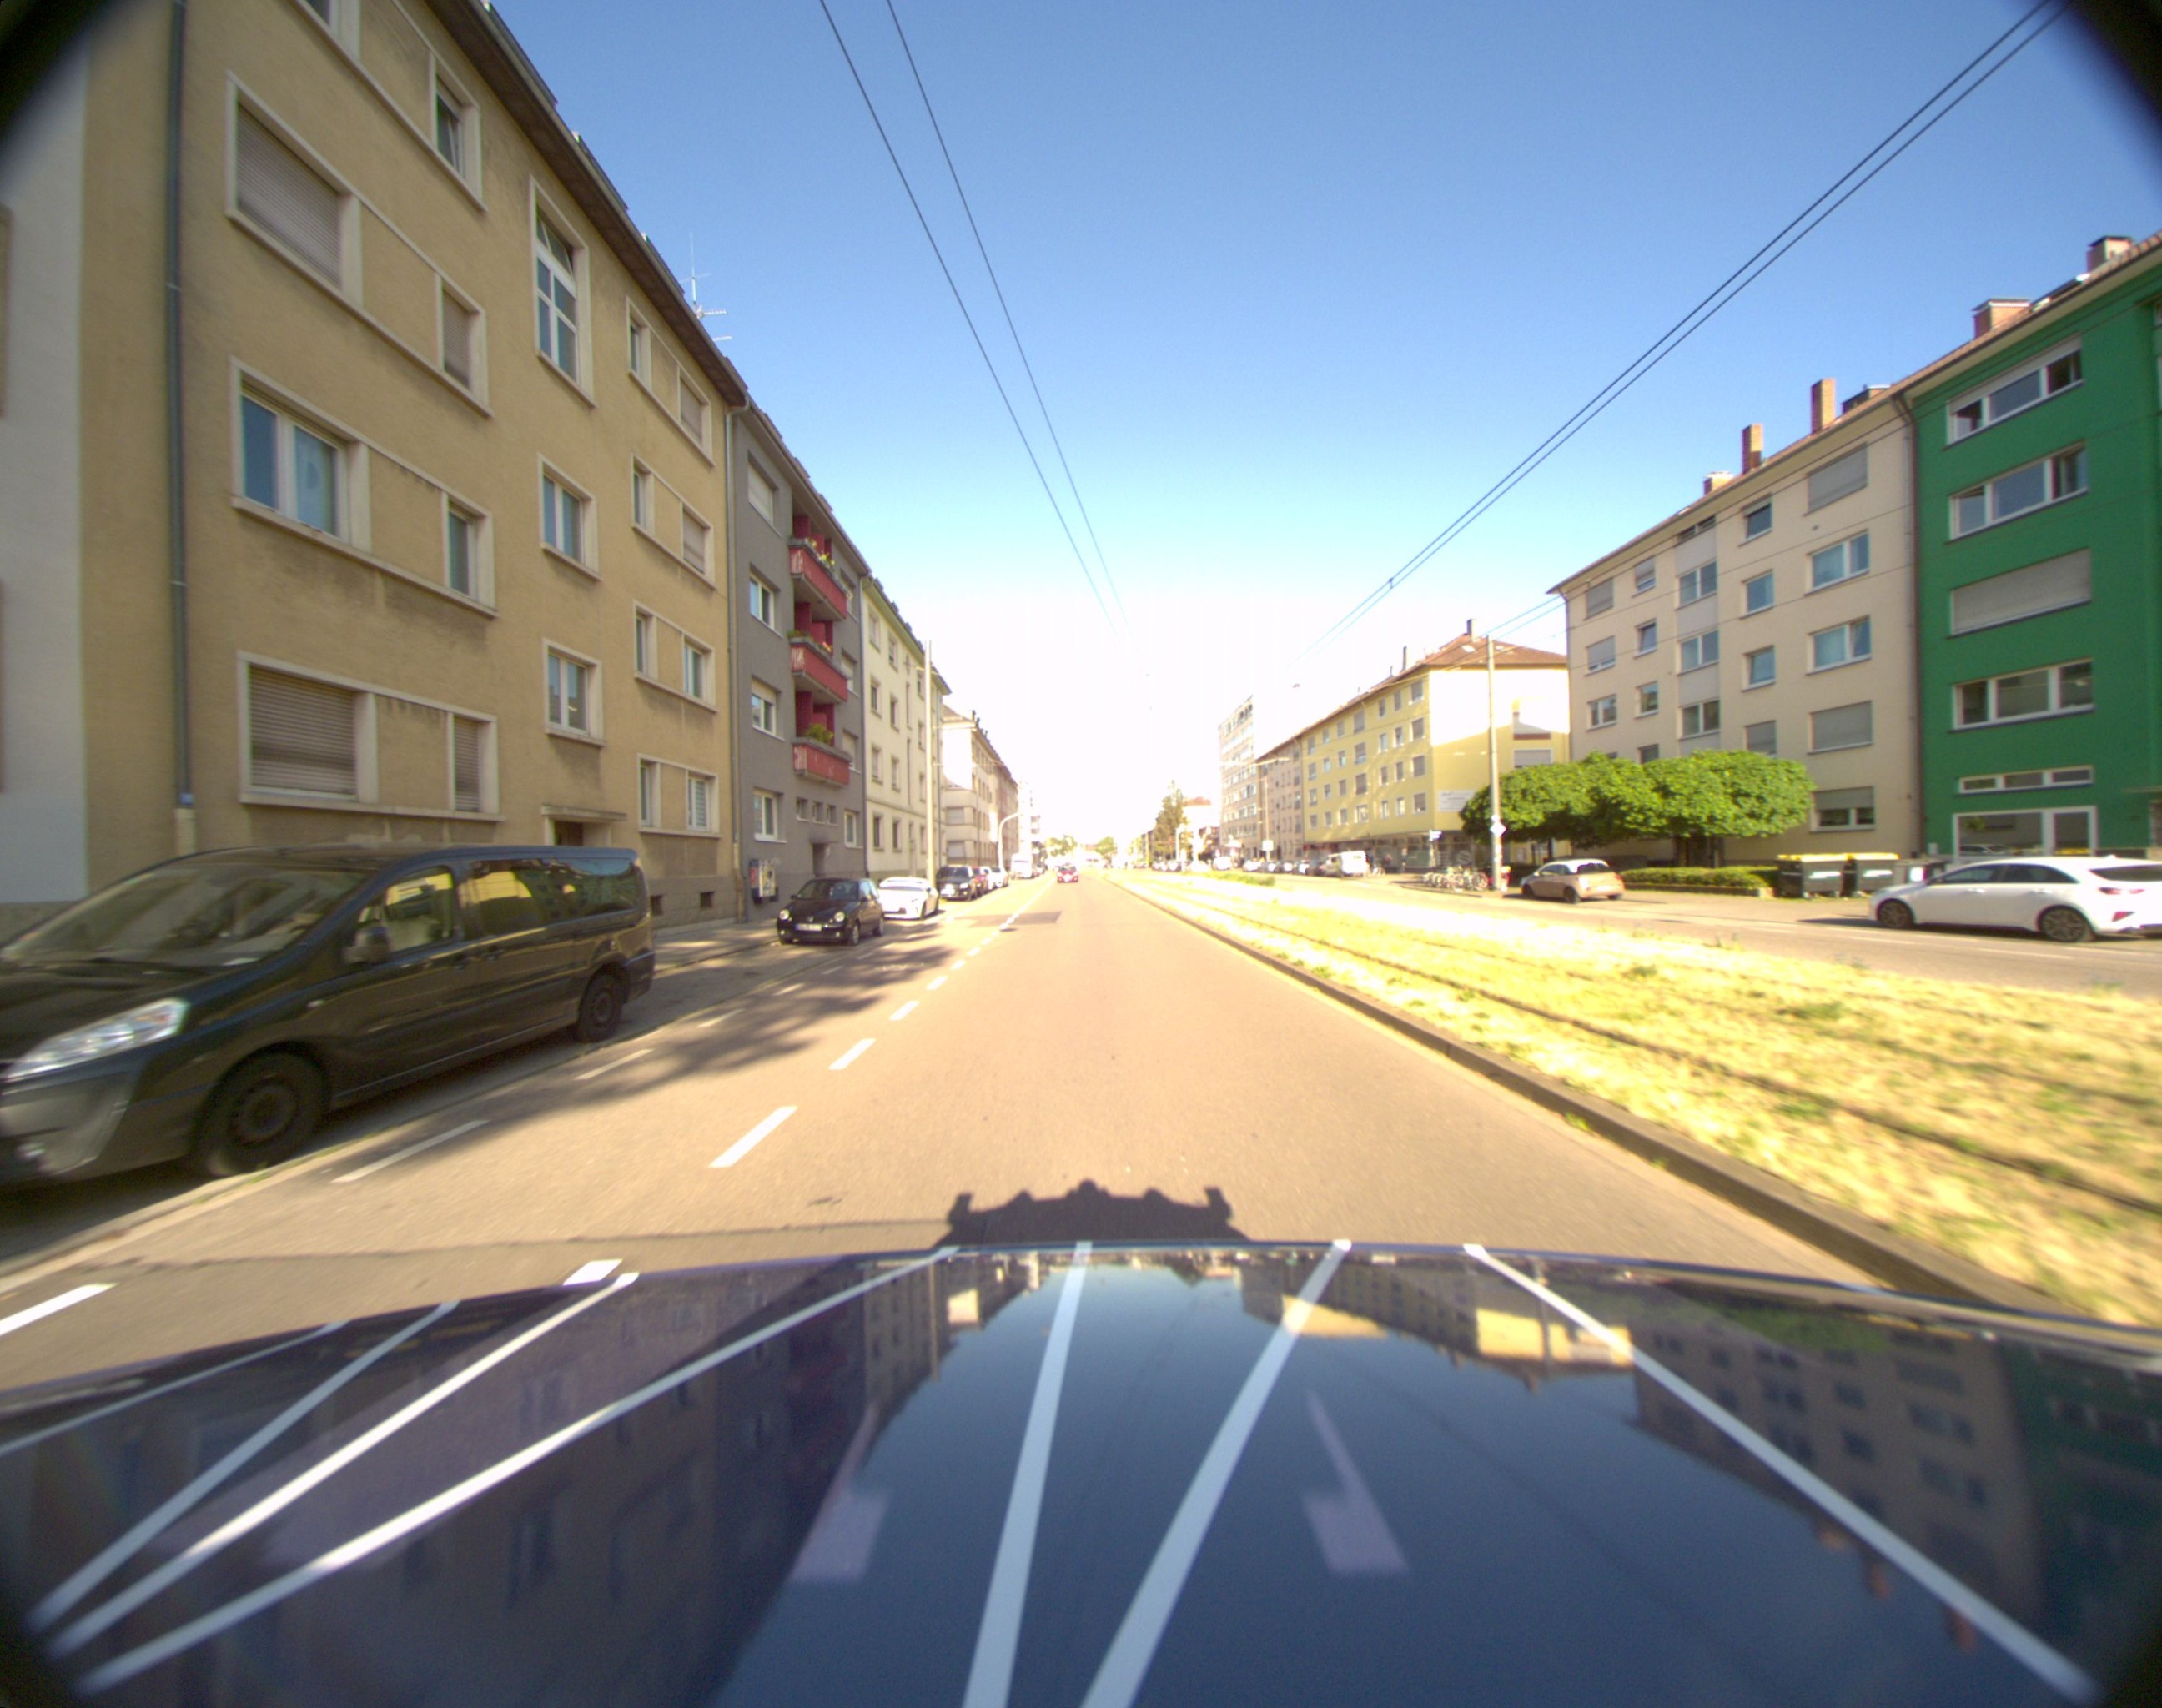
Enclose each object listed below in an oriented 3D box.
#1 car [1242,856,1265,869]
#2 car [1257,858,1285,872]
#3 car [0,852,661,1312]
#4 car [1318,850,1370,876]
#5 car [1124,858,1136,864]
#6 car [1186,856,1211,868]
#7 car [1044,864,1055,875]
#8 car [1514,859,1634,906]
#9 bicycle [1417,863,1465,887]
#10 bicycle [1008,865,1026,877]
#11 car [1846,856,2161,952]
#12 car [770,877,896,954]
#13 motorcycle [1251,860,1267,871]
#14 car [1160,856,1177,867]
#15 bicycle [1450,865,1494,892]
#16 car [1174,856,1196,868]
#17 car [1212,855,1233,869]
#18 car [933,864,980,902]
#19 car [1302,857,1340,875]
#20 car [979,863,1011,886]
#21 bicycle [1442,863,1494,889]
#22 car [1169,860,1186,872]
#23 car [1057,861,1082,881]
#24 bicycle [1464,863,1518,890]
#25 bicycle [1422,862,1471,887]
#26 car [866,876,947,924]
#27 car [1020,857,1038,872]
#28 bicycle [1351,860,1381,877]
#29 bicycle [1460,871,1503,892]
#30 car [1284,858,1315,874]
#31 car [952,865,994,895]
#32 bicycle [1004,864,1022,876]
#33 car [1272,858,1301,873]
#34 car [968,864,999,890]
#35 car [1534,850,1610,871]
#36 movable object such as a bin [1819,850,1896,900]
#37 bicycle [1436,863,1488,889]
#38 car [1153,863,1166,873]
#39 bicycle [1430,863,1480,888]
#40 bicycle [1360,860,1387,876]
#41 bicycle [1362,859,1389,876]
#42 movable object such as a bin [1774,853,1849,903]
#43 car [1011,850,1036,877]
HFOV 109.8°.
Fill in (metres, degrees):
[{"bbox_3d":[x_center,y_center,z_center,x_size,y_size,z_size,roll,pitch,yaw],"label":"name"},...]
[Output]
[{"bbox_3d":[21.232,1.014,93.798,1.763,1.477,4.199,-4,0,-1],"label":"car"},{"bbox_3d":[21.329,1.198,85.505,1.788,1.377,4.414,-4,0,-3],"label":"car"},{"bbox_3d":[-5.503,0.959,5.674,1.918,1.888,5.135,1,0,-1],"label":"car"},{"bbox_3d":[21.822,0.771,63.225,1.999,1.938,5.499,-4,0,-4],"label":"car"},{"bbox_3d":[13.930,2.007,214.362,1.718,1.379,3.720,-4,0,30],"label":"car"},{"bbox_3d":[14.039,0.989,91.004,1.839,1.376,4.413,-1,-1,-6],"label":"car"},{"bbox_3d":[-4.862,2.392,117.219,1.763,1.543,2.649,0,0,-3],"label":"car"},{"bbox_3d":[17.468,0.957,27.138,1.640,1.433,3.733,-4,0,-3],"label":"car"},{"bbox_3d":[18.137,1.056,38.313,2.052,1.086,0.616,-4,0,5],"label":"bicycle"},{"bbox_3d":[-6.163,1.601,73.133,1.912,1.081,0.474,0,4,43],"label":"bicycle"},{"bbox_3d":[17.471,0.807,14.279,1.733,1.446,4.376,-3,0,0],"label":"car"},{"bbox_3d":[-5.537,1.316,17.439,1.640,1.445,3.789,1,0,0],"label":"car"},{"bbox_3d":[21.082,1.321,89.961,2.115,1.132,0.486,-4,0,-34],"label":"motorcycle"},{"bbox_3d":[12.916,1.140,111.986,1.862,1.541,4.240,1,0,-3],"label":"car"},{"bbox_3d":[17.023,1.051,33.125,0.511,1.086,1.934,-4,0,-12],"label":"bicycle"},{"bbox_3d":[13.377,1.040,97.643,1.788,1.519,4.413,-1,-1,-6],"label":"car"},{"bbox_3d":[21.581,1.188,116.057,1.999,1.887,4.669,-4,0,-3],"label":"car"},{"bbox_3d":[-5.708,1.286,35.334,1.640,1.637,4.373,1,0,-3],"label":"car"},{"bbox_3d":[21.667,1.065,68.746,1.787,1.465,4.596,-4,0,-1],"label":"car"},{"bbox_3d":[-5.811,1.384,51.878,1.698,1.450,4.379,-1,0,0],"label":"car"},{"bbox_3d":[18.073,1.029,35.518,2.052,1.086,0.616,-4,0,5],"label":"bicycle"},{"bbox_3d":[13.273,1.622,104.820,1.787,1.572,4.608,-1,-1,-1],"label":"car"},{"bbox_3d":[-0.883,1.323,59.564,1.862,1.461,3.809,-1,0,0],"label":"car"},{"bbox_3d":[18.385,1.000,34.150,2.050,1.086,0.616,-4,0,27],"label":"bicycle"},{"bbox_3d":[18.076,1.023,37.635,2.052,1.086,0.616,-4,0,5],"label":"bicycle"},{"bbox_3d":[-5.621,1.439,24.952,1.706,1.268,4.303,2,0,-1],"label":"car"},{"bbox_3d":[-5.837,1.181,85.704,1.852,1.627,4.574,0,0,-3],"label":"car"},{"bbox_3d":[22.021,1.116,58.768,2.103,1.099,0.472,-4,0,0],"label":"bicycle"},{"bbox_3d":[17.496,1.184,33.263,0.377,0.860,2.053,-4,0,-12],"label":"bicycle"},{"bbox_3d":[21.426,1.170,74.535,1.787,1.377,3.768,-4,0,-1],"label":"car"},{"bbox_3d":[-5.787,1.361,41.200,1.640,1.508,4.188,-1,0,0],"label":"car"},{"bbox_3d":[-6.421,1.510,71.765,1.912,1.080,0.475,0,-1,43],"label":"bicycle"},{"bbox_3d":[21.572,1.221,79.911,1.787,1.412,4.415,-4,0,-1],"label":"car"},{"bbox_3d":[-5.932,1.370,46.698,1.640,1.450,4.080,-1,0,-4],"label":"car"},{"bbox_3d":[32.900,0.450,50.991,3.998,1.404,1.772,0,0,-3],"label":"car"},{"bbox_3d":[22.957,0.605,22.490,1.149,1.360,1.039,-4,1,2],"label":"movable object such as a bin"},{"bbox_3d":[18.136,1.035,36.173,2.052,1.086,0.616,-4,0,5],"label":"bicycle"},{"bbox_3d":[12.896,2.332,125.274,1.617,1.550,4.000,0,0,-1],"label":"car"},{"bbox_3d":[18.186,1.044,36.956,2.052,1.086,0.616,-4,0,5],"label":"bicycle"},{"bbox_3d":[22.023,1.043,57.302,1.824,1.099,0.390,-4,0,0],"label":"bicycle"},{"bbox_3d":[22.022,1.025,56.869,1.824,1.099,0.390,-4,0,0],"label":"bicycle"},{"bbox_3d":[21.662,0.697,22.545,1.149,1.360,1.039,-4,1,2],"label":"movable object such as a bin"},{"bbox_3d":[-5.854,0.987,78.329,2.156,2.680,6.291,0,0,-1],"label":"car"}]
